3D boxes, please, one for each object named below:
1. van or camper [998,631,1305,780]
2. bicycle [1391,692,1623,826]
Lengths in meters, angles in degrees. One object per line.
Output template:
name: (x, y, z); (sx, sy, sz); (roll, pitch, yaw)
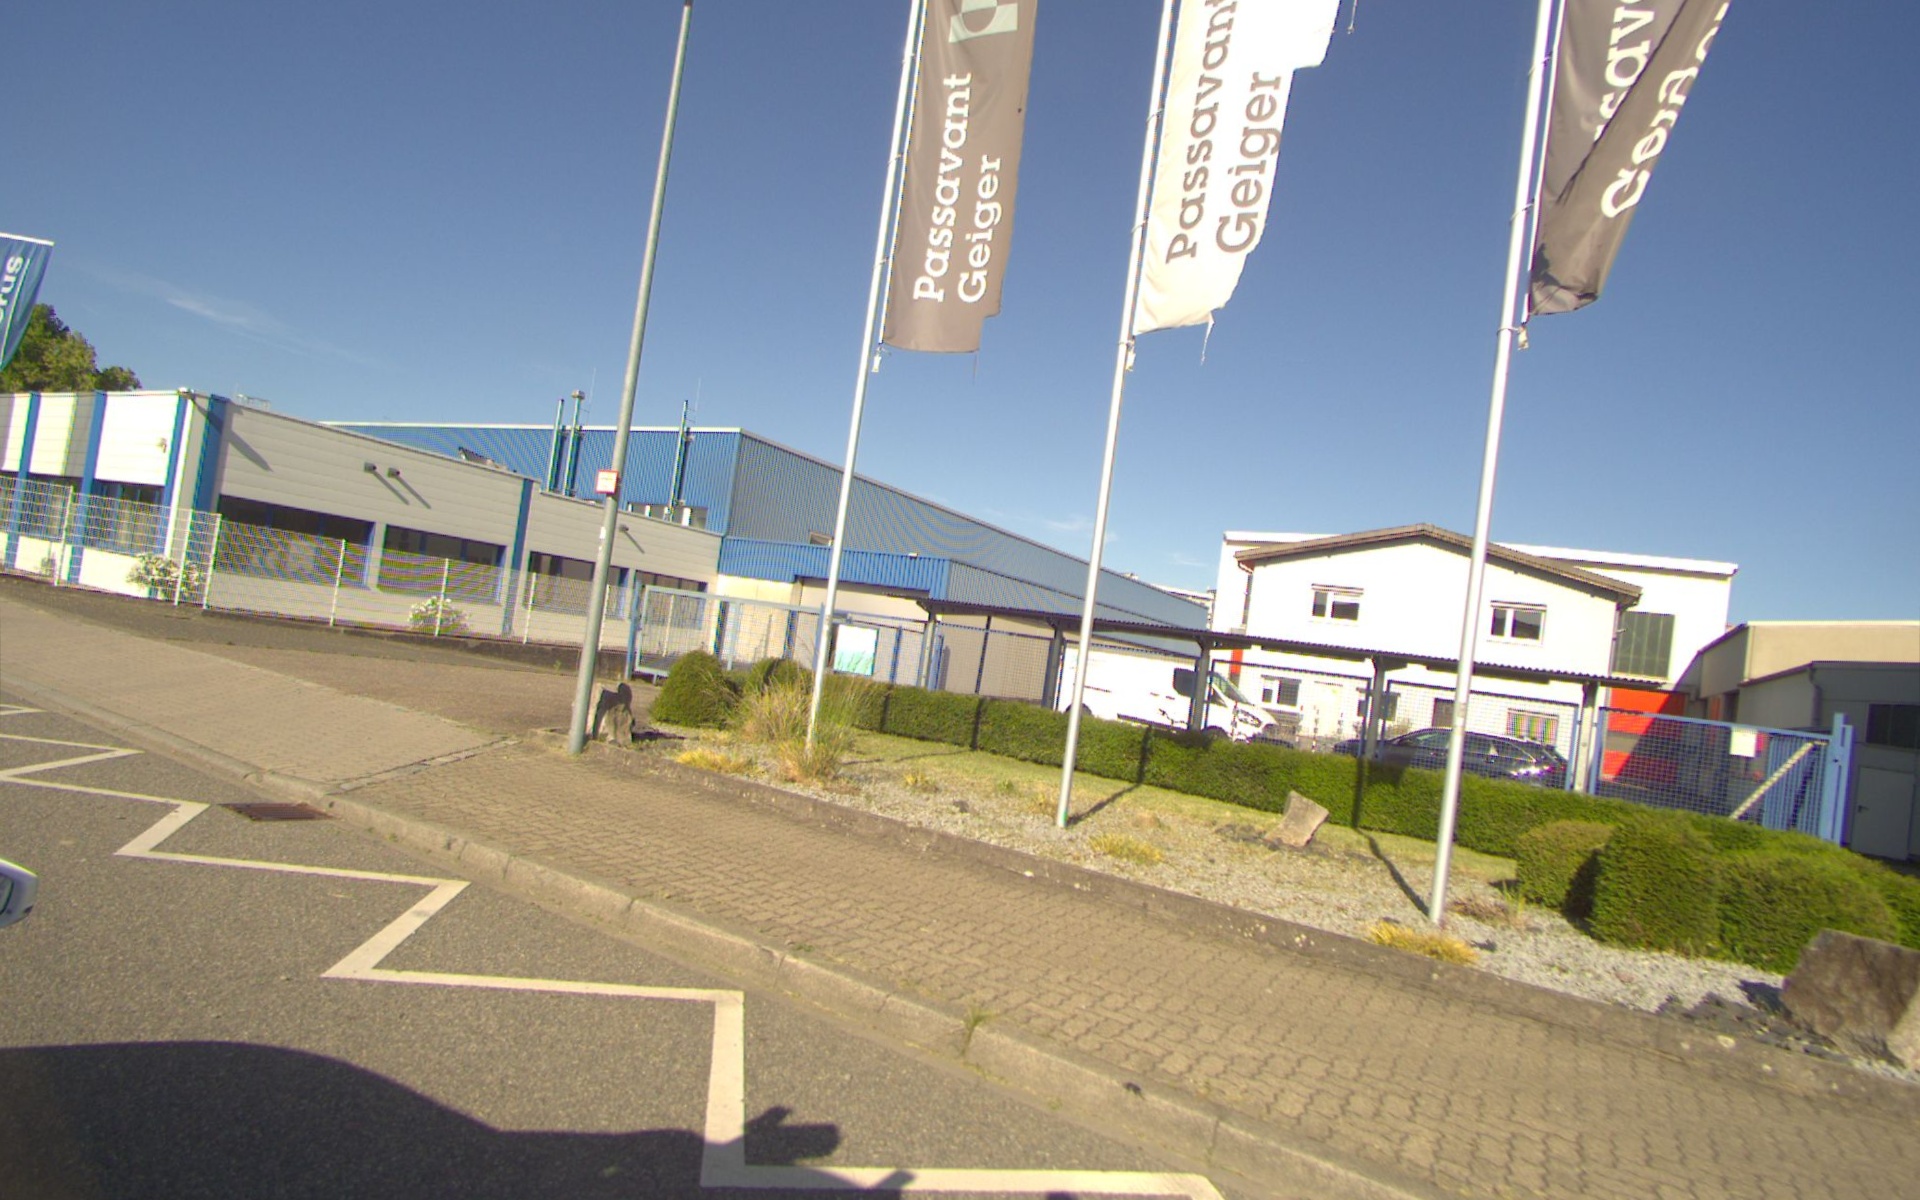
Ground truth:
van or camper: (4.276, 2.350, 23.154); (6.410, 2.407, 2.105); (6, -4, 34)
bicycle: (11.434, 3.260, 21.226); (3.932, 2.036, 1.999); (7, -2, 30)
